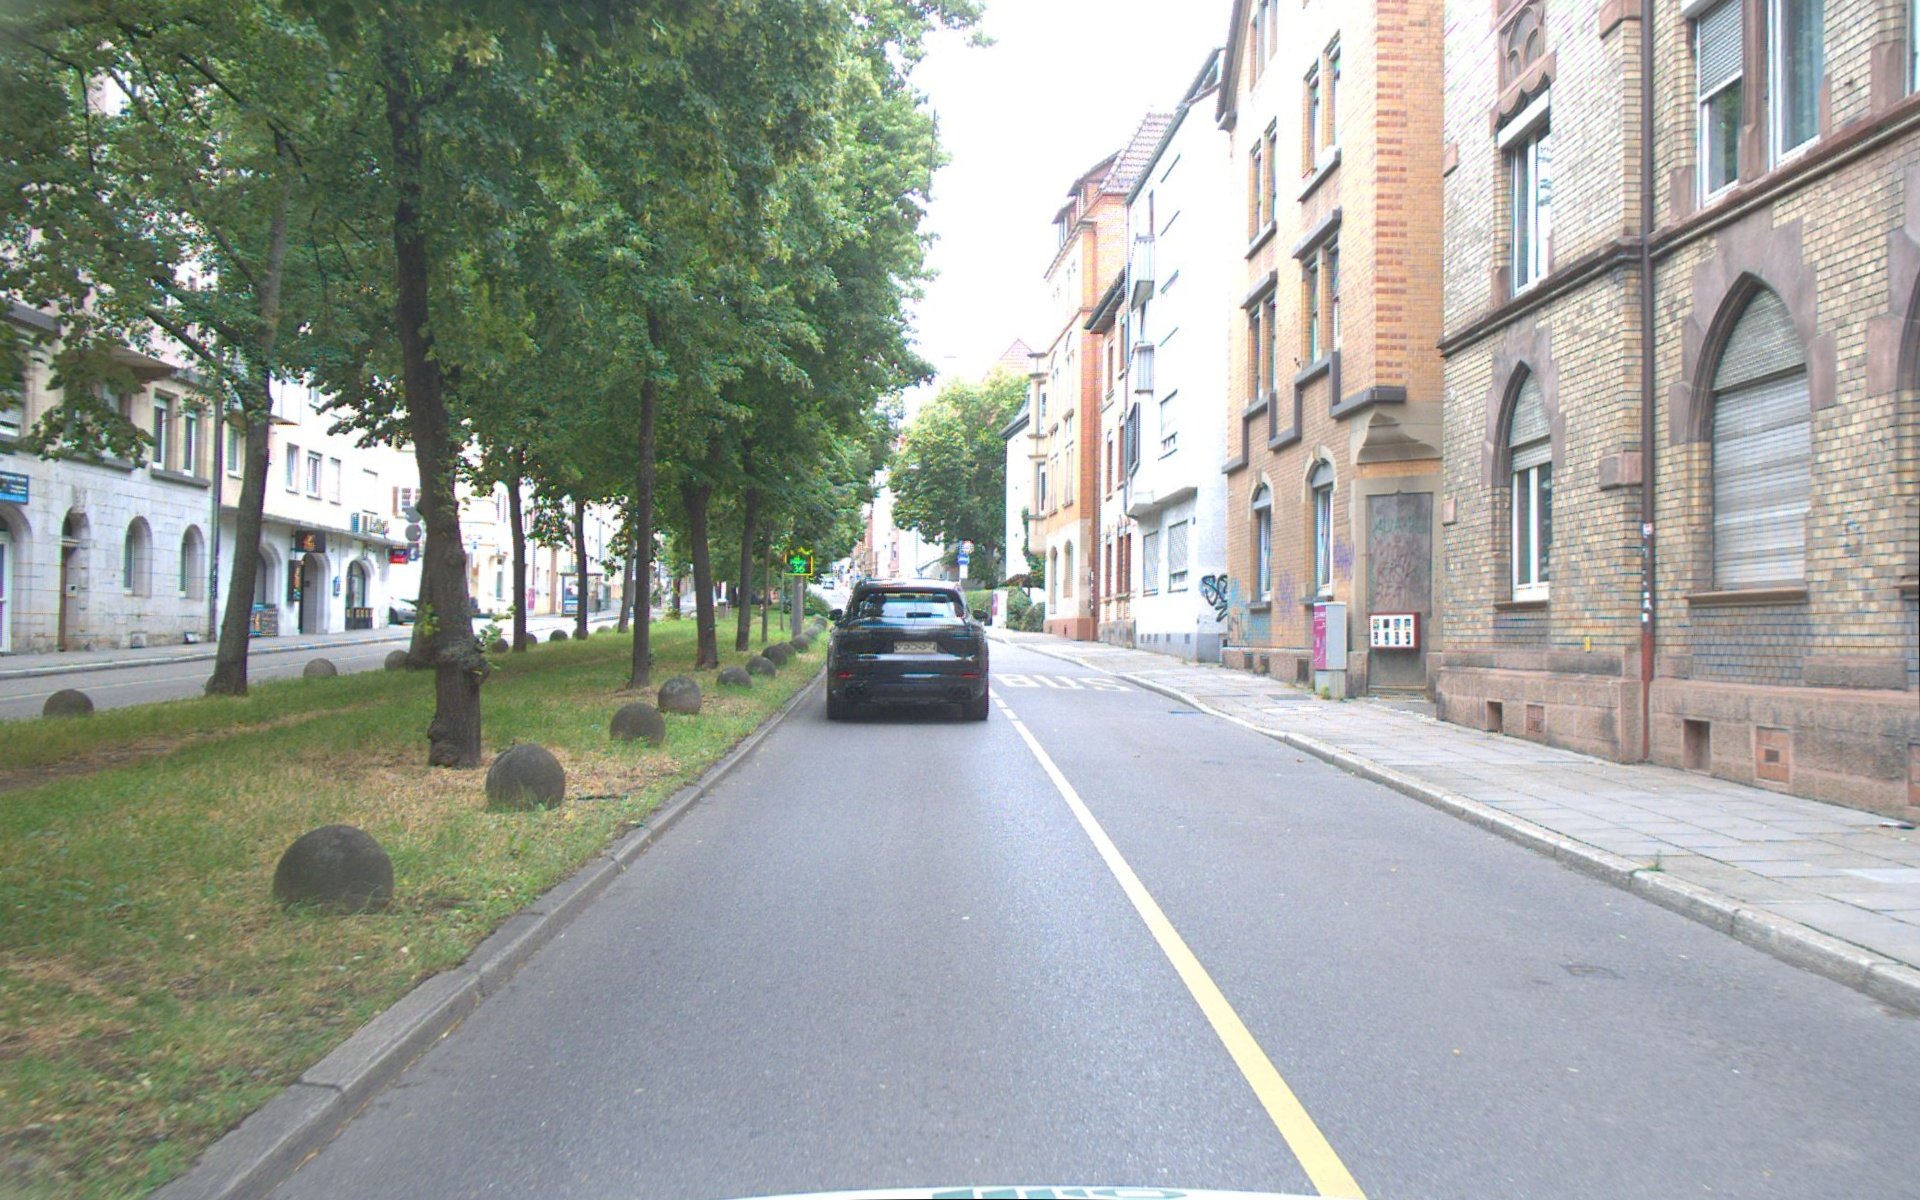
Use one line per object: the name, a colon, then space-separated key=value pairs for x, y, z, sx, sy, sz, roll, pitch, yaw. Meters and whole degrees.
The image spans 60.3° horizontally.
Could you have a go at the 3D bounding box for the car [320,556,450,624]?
car: x=-25.110 y=-0.425 z=72.408 sx=5.084 sy=2.784 sz=2.169 roll=2 pitch=-1 yaw=-14

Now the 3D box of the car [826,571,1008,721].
car: x=-0.648 y=0.540 z=20.894 sx=1.867 sy=1.695 sz=4.128 roll=1 pitch=0 yaw=-7

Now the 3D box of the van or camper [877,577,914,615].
van or camper: x=-4.949 y=-0.283 z=126.500 sx=2.432 sy=2.852 sz=7.229 roll=1 pitch=0 yaw=-5

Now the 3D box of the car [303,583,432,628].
car: x=-22.828 y=0.210 z=63.852 sx=4.203 sy=1.444 sz=2.046 roll=3 pitch=0 yaw=-4
